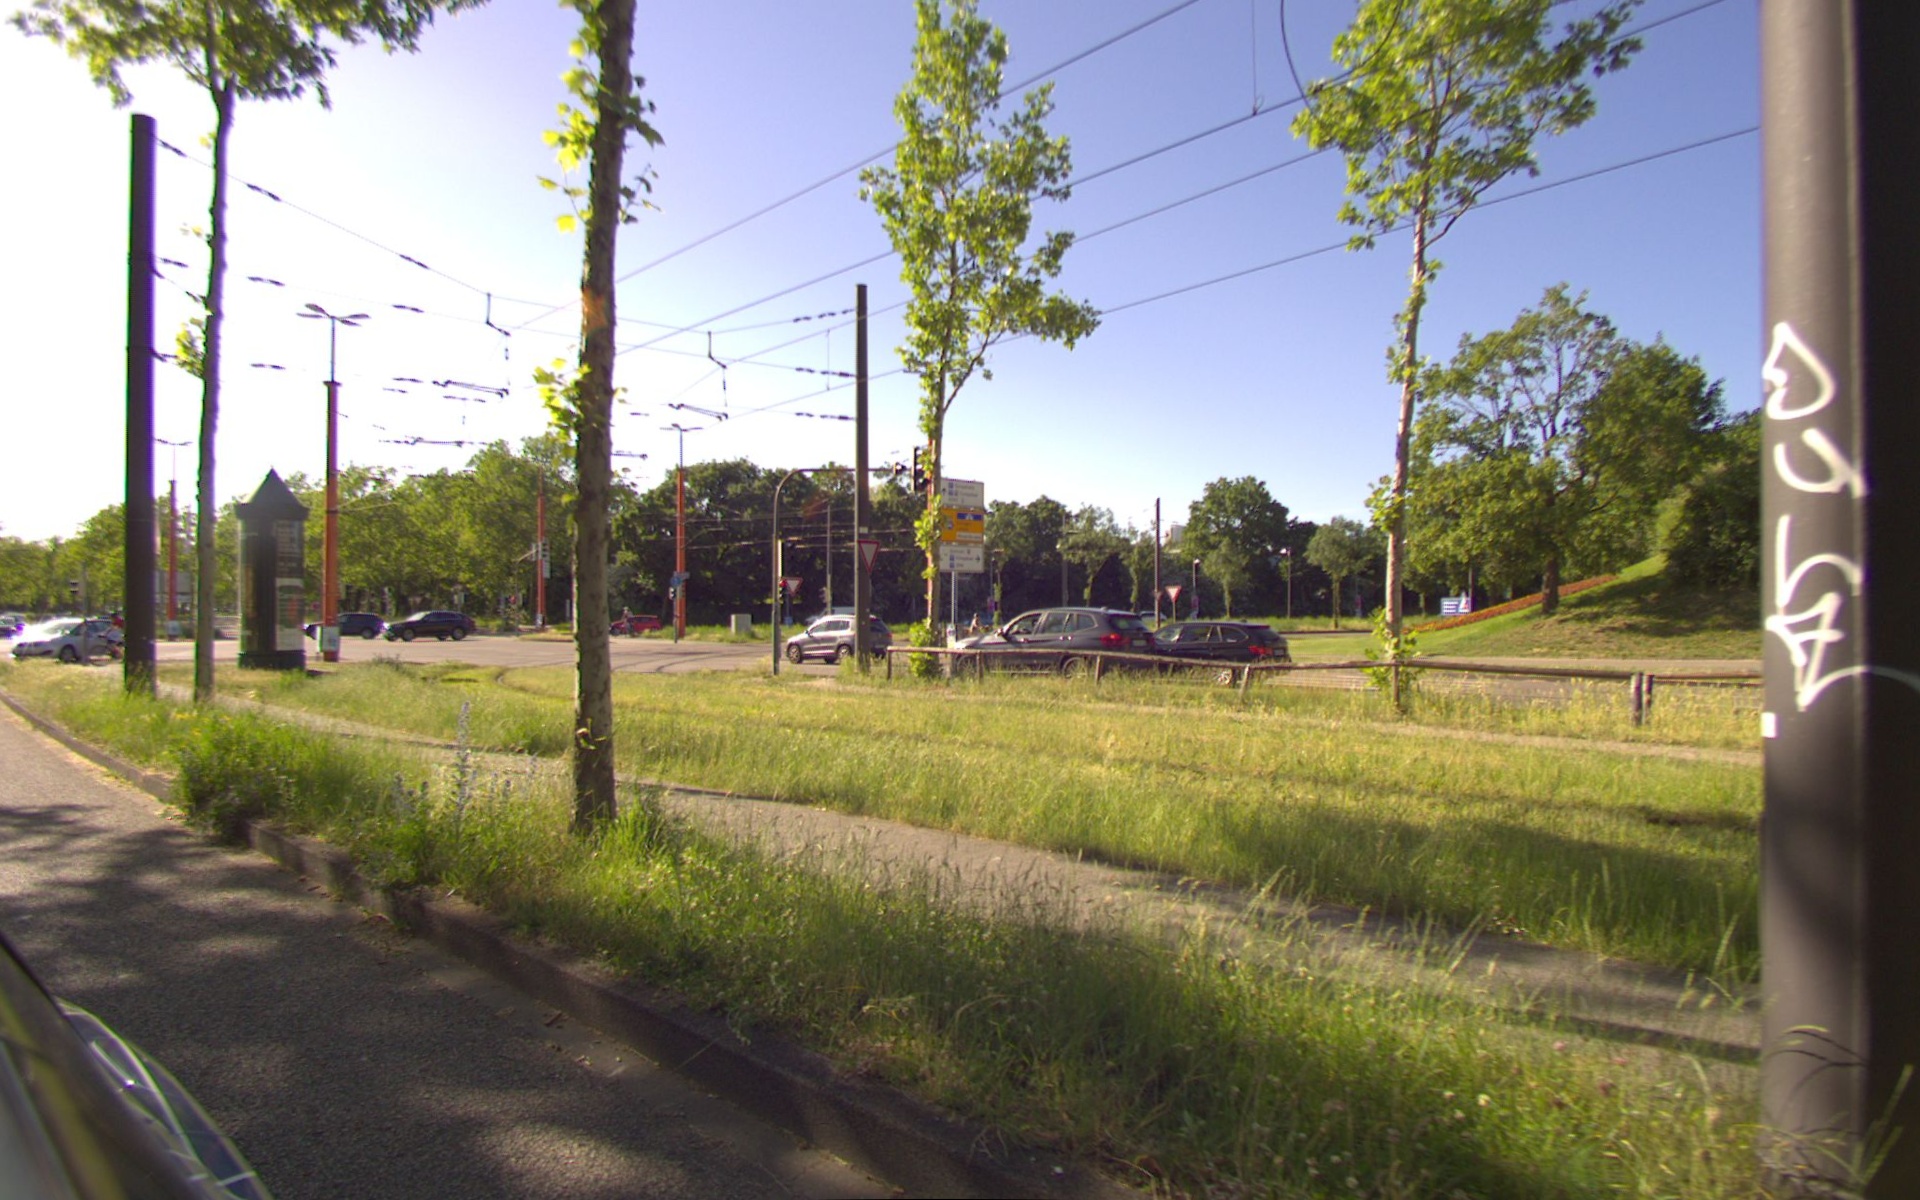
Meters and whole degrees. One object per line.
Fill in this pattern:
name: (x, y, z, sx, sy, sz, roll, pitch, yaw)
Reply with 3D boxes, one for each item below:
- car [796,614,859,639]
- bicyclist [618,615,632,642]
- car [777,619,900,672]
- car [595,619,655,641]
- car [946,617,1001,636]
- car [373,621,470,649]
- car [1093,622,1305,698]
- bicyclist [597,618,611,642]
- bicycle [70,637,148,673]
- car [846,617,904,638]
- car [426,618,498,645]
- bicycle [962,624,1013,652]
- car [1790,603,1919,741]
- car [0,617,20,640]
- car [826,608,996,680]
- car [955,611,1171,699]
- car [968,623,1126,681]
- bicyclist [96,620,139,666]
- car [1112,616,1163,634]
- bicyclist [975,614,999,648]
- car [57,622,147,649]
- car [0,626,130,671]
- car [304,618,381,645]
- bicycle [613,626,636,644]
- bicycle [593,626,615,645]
car: (-10.079, 1.980, 77.025, 4.478, 1.849, 1.806, 0, -2, -23)
bicyclist: (-20.761, 1.733, 62.650, 0.715, 1.664, 0.554, -1, -1, 44)
car: (-4.186, 1.494, 34.470, 4.266, 1.691, 1.775, -1, -1, 42)
car: (-23.666, 2.112, 71.478, 3.930, 1.522, 1.806, 0, -2, -22)
car: (1.073, 2.119, 81.060, 3.930, 1.522, 1.806, 0, -2, -22)
car: (-30.304, 1.933, 57.077, 1.786, 1.522, 4.570, -2, -2, 36)
car: (5.233, 1.261, 22.519, 4.266, 1.522, 1.775, -1, -1, 42)
bicyclist: (-21.801, 1.838, 61.928, 0.778, 1.458, 0.493, -1, -1, 44)
bicycle: (-28.167, 1.805, 33.538, 1.868, 1.116, 0.705, 0, -1, -26)
car: (-6.307, 2.061, 75.289, 3.930, 1.522, 1.806, 0, -2, -22)
car: (-31.714, 1.985, 64.576, 3.931, 1.667, 1.806, 0, -1, -20)
bicycle: (1.147, 1.597, 42.429, 2.035, 1.116, 0.654, -2, -4, 29)
car: (12.590, 0.837, 11.931, 4.266, 1.620, 1.775, -1, -1, 42)
car: (-66.045, 1.937, 69.494, 1.771, 1.522, 4.009, 0, -1, -37)
car: (-1.285, 1.065, 25.310, 4.232, 1.629, 1.775, -2, -1, 42)
car: (2.049, 1.062, 20.952, 4.232, 1.629, 1.775, -1, -1, 42)
car: (2.420, 1.415, 28.814, 4.263, 1.522, 1.776, -1, -1, 40)
bicyclist: (-27.989, 1.403, 33.628, 0.940, 1.489, 0.705, 0, -1, -26)
car: (15.296, 2.154, 87.128, 3.930, 1.522, 1.806, 0, -2, -23)
bicyclist: (1.148, 1.291, 42.447, 0.788, 1.391, 0.654, -2, -4, 28)
car: (-51.086, 2.107, 60.333, 3.720, 1.518, 1.619, 0, -2, -23)
car: (-33.671, 1.777, 38.135, 1.680, 1.600, 3.905, 0, -1, -1)
car: (-39.524, 2.025, 64.864, 3.930, 1.667, 1.806, 0, -2, -22)
bicycle: (-20.784, 2.155, 62.667, 1.800, 1.116, 0.554, -1, -1, 44)
bicycle: (-21.799, 2.153, 61.923, 1.800, 1.116, 0.493, -1, -1, 44)
